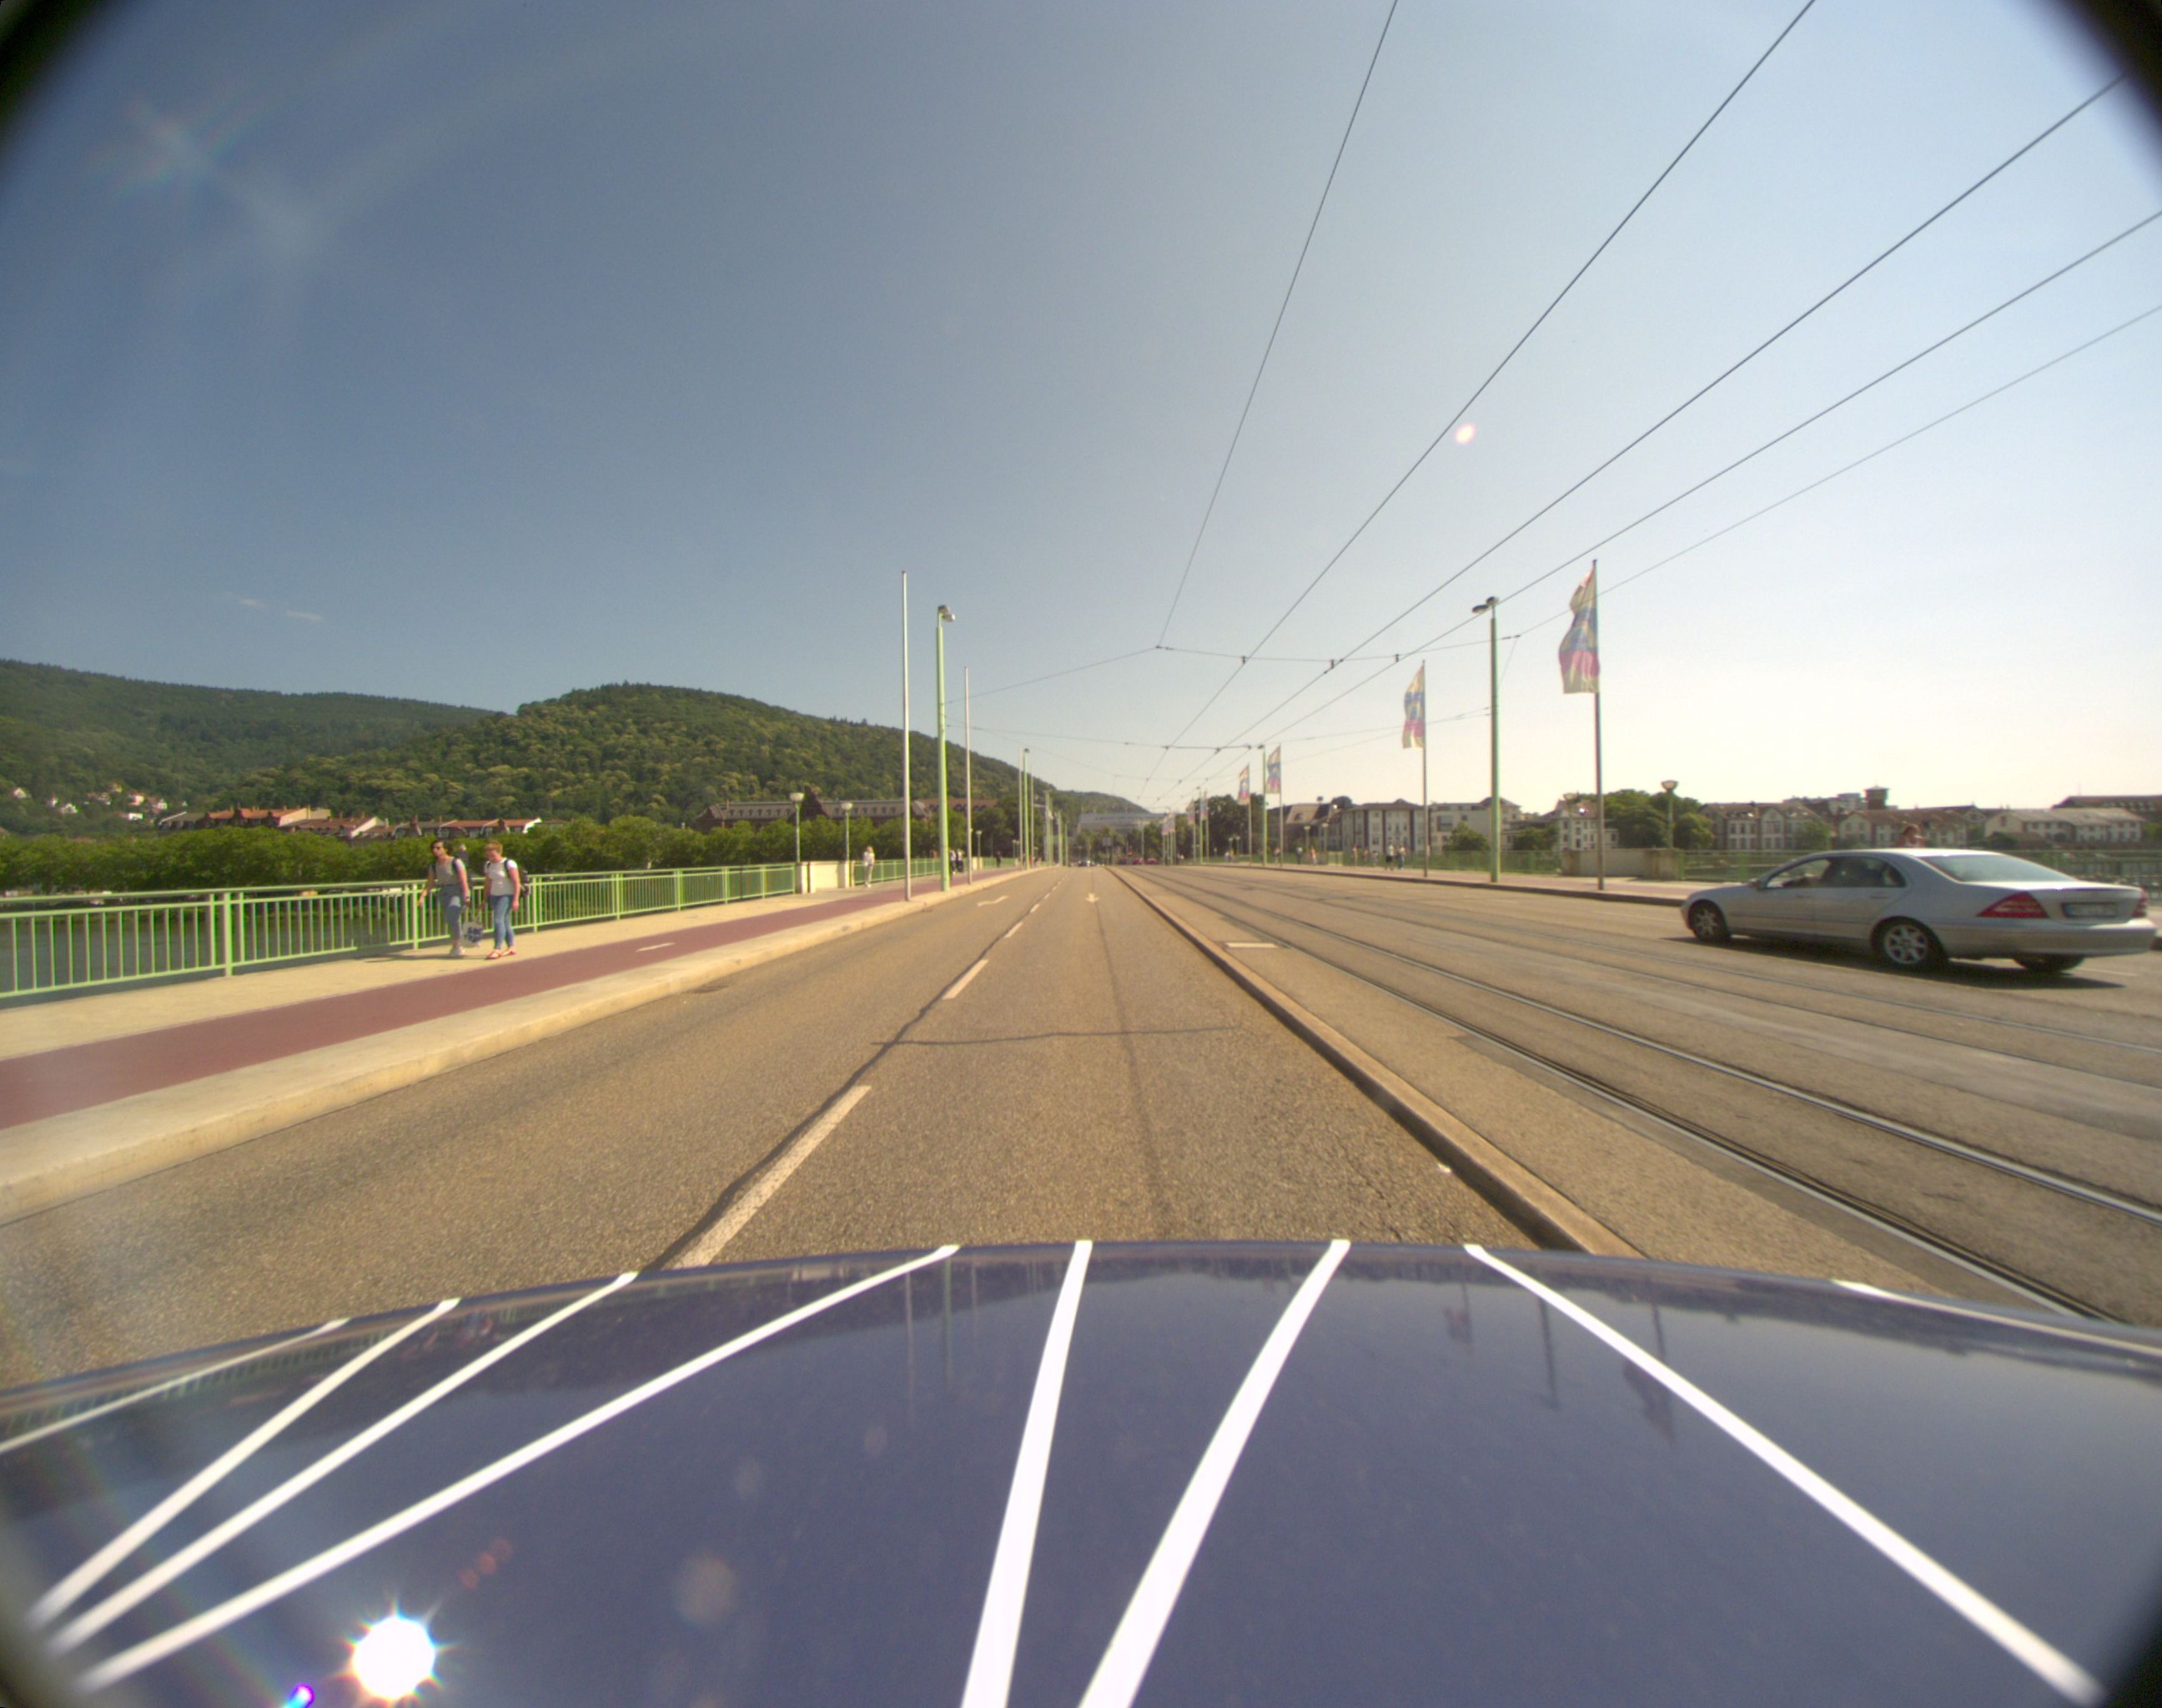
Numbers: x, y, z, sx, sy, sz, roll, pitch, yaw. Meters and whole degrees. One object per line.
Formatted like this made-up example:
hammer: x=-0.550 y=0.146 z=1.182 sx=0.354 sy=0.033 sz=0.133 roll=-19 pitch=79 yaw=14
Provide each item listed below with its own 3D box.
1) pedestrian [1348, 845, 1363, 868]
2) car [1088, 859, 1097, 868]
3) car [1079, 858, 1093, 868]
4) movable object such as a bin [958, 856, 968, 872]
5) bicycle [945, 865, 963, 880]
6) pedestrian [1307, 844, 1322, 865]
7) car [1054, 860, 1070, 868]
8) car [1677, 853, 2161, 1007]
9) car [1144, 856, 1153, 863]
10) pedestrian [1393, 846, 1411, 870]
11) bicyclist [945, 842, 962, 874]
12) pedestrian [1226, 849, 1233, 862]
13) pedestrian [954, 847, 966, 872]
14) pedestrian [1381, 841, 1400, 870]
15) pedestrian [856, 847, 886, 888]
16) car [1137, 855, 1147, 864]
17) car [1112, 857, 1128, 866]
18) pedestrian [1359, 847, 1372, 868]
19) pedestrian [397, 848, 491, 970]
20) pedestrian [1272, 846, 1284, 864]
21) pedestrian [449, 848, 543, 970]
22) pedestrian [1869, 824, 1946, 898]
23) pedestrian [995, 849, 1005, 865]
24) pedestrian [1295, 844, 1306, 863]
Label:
pedestrian: x=19.271 y=0.162 z=53.294 sx=0.627 sy=1.590 sz=1.022 roll=-3 pitch=1 yaw=1
car: x=2.445 y=1.939 z=161.158 sx=1.998 sy=1.687 sz=3.999 roll=-2 pitch=1 yaw=1
car: x=0.857 y=1.374 z=122.724 sx=1.998 sy=1.379 sz=4.000 roll=-6 pitch=0 yaw=1
movable object such as a bin: x=-8.368 y=0.690 z=53.776 sx=0.583 sy=1.084 sz=0.933 roll=0 pitch=1 yaw=0
bicycle: x=-6.700 y=0.965 z=40.171 sx=0.595 sy=0.761 sz=1.866 roll=0 pitch=1 yaw=1
pedestrian: x=18.825 y=0.051 z=61.323 sx=0.787 sy=1.690 sz=1.022 roll=-3 pitch=1 yaw=1
car: x=-4.869 y=2.590 z=199.677 sx=3.996 sy=2.002 sz=2.000 roll=-2 pitch=2 yaw=2
car: x=10.156 y=0.745 z=9.653 sx=1.735 sy=1.452 sz=4.373 roll=-1 pitch=1 yaw=0
car: x=15.116 y=1.139 z=169.500 sx=1.672 sy=1.428 sz=4.000 roll=-1 pitch=1 yaw=2
pedestrian: x=19.314 y=0.249 z=45.781 sx=0.592 sy=1.406 sz=1.022 roll=-3 pitch=1 yaw=1
bicyclist: x=-6.699 y=0.209 z=40.044 sx=0.731 sy=1.655 sz=0.844 roll=0 pitch=1 yaw=1
pedestrian: x=20.463 y=0.201 z=104.841 sx=0.592 sy=1.690 sz=0.905 roll=-5 pitch=1 yaw=1
pedestrian: x=-8.405 y=0.379 z=52.928 sx=0.664 sy=1.696 sz=0.859 roll=0 pitch=1 yaw=1
pedestrian: x=18.647 y=0.093 z=45.761 sx=0.671 sy=1.690 sz=1.022 roll=-3 pitch=1 yaw=1
pedestrian: x=-8.823 y=0.557 z=31.961 sx=0.950 sy=1.653 sz=1.082 roll=1 pitch=1 yaw=1
car: x=12.868 y=1.235 z=161.296 sx=1.714 sy=1.686 sz=4.000 roll=-5 pitch=0 yaw=2
car: x=10.198 y=1.994 z=200.487 sx=3.997 sy=2.002 sz=1.999 roll=-5 pitch=1 yaw=-2
pedestrian: x=19.937 y=0.214 z=53.307 sx=0.547 sy=1.429 sz=0.789 roll=-3 pitch=1 yaw=1
pedestrian: x=-8.932 y=0.742 z=10.683 sx=0.669 sy=1.649 sz=0.746 roll=0 pitch=1 yaw=1
pedestrian: x=19.263 y=0.098 z=74.180 sx=0.787 sy=1.689 sz=1.023 roll=-3 pitch=-2 yaw=1
pedestrian: x=-8.177 y=0.738 z=10.657 sx=0.664 sy=1.649 sz=0.825 roll=0 pitch=1 yaw=1
pedestrian: x=19.799 y=0.155 z=18.230 sx=0.686 sy=1.681 sz=1.022 roll=-3 pitch=1 yaw=1
pedestrian: x=-8.622 y=0.289 z=80.821 sx=0.950 sy=1.653 sz=1.082 roll=1 pitch=1 yaw=1
pedestrian: x=20.236 y=-0.022 z=70.006 sx=0.592 sy=1.690 sz=1.022 roll=-3 pitch=1 yaw=1
